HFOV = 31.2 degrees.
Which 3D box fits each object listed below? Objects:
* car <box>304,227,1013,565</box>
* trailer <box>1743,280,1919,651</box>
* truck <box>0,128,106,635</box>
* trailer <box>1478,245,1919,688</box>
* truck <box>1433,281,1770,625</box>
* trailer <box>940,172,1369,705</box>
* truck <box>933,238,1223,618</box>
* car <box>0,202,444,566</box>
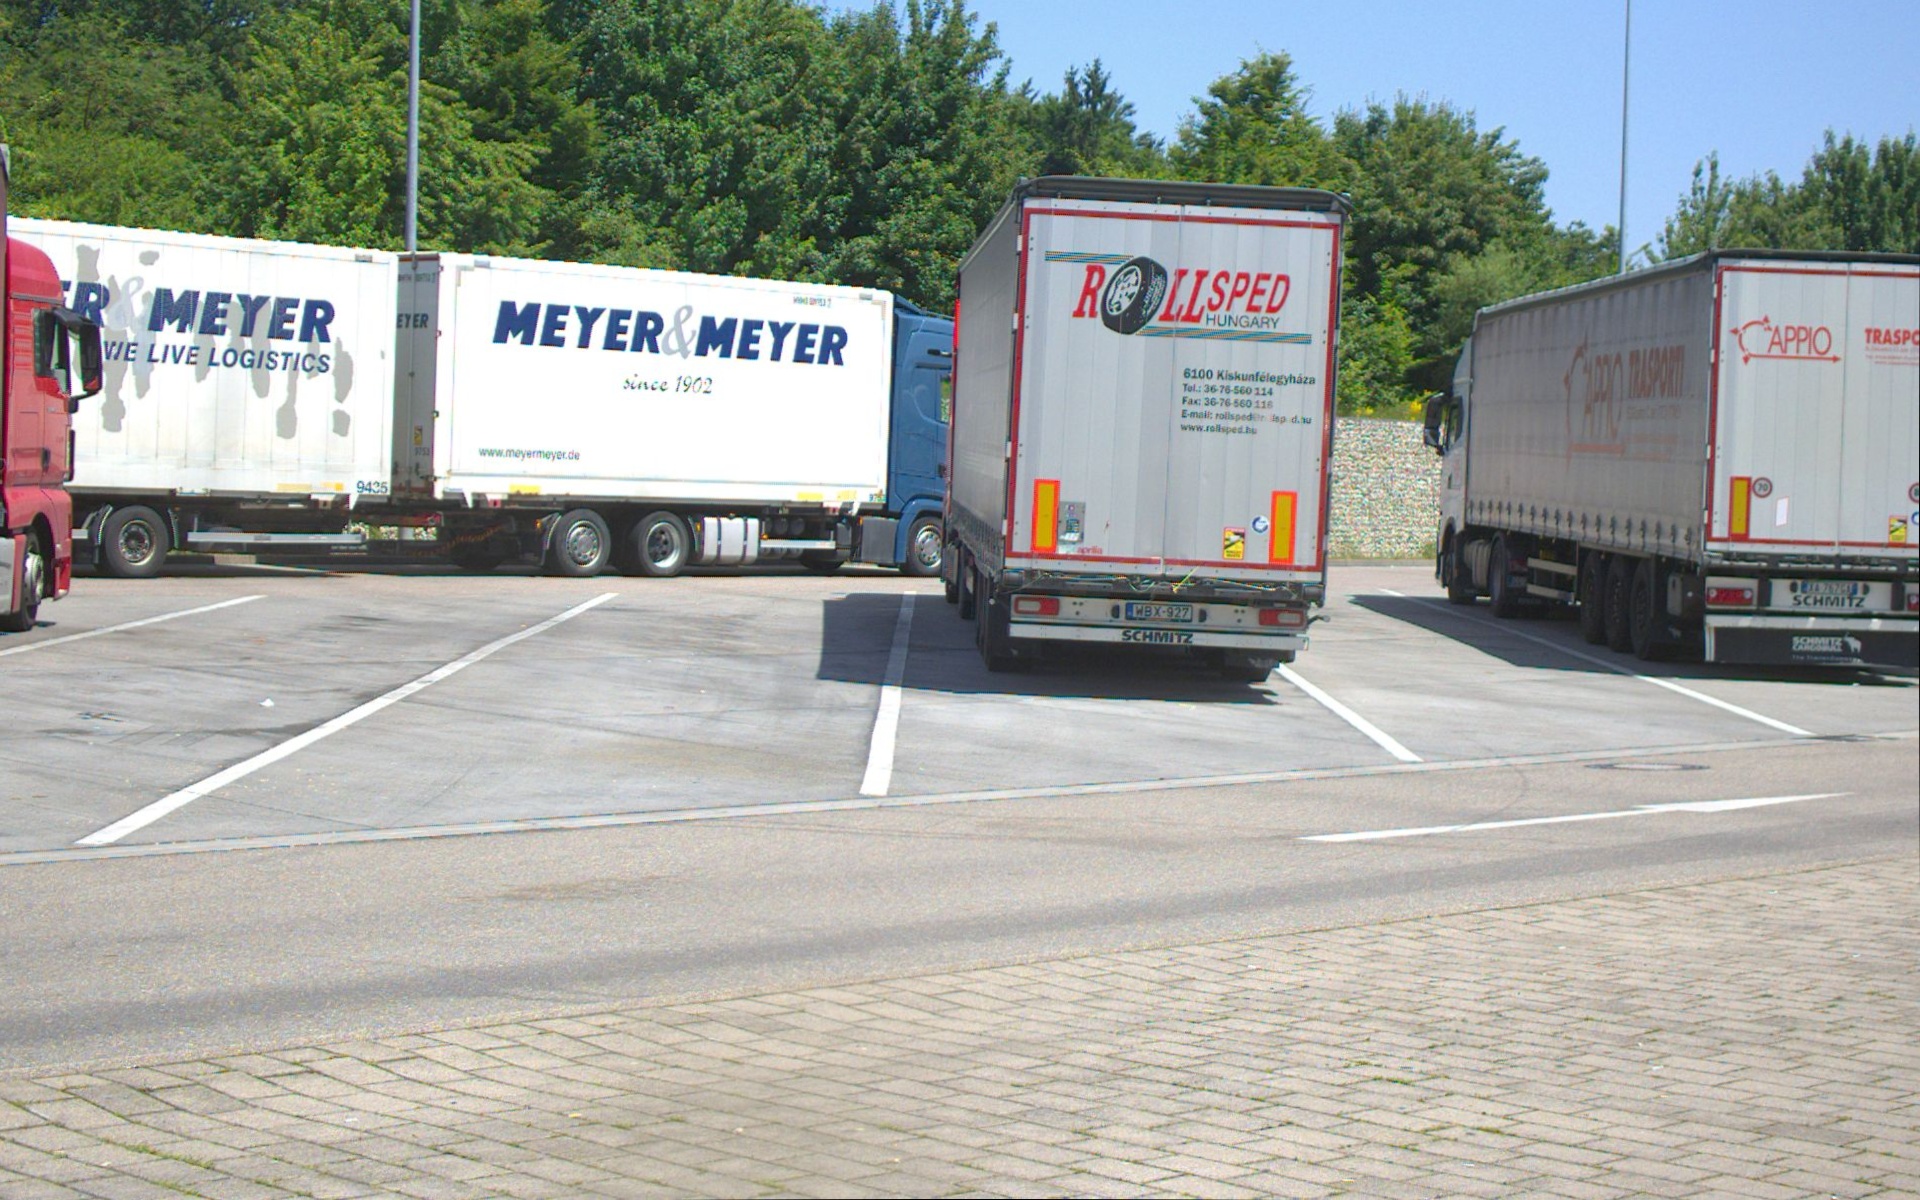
[{"bbox_3d":[-3.871,-2.666,47.134,2.687,4.174,10.190,6,5,45],"label":"car"},{"bbox_3d":[11.854,-1.526,39.010,2.866,4.023,12.439,2,3,0],"label":"trailer"},{"bbox_3d":[-9.134,-1.811,27.973,2.696,4.099,6.240,2,3,0],"label":"truck"},{"bbox_3d":[8.199,-1.566,37.947,2.866,4.023,12.439,2,3,0],"label":"trailer"},{"bbox_3d":[8.141,-1.949,44.574,2.866,4.023,6.957,2,3,0],"label":"truck"},{"bbox_3d":[1.454,-1.634,33.611,2.866,4.023,14.243,2,3,-2],"label":"trailer"},{"bbox_3d":[1.243,-2.053,40.689,2.866,4.023,7.028,2,3,-2],"label":"truck"},{"bbox_3d":[-10.351,-2.511,40.432,2.687,4.030,8.446,6,5,44],"label":"car"}]
